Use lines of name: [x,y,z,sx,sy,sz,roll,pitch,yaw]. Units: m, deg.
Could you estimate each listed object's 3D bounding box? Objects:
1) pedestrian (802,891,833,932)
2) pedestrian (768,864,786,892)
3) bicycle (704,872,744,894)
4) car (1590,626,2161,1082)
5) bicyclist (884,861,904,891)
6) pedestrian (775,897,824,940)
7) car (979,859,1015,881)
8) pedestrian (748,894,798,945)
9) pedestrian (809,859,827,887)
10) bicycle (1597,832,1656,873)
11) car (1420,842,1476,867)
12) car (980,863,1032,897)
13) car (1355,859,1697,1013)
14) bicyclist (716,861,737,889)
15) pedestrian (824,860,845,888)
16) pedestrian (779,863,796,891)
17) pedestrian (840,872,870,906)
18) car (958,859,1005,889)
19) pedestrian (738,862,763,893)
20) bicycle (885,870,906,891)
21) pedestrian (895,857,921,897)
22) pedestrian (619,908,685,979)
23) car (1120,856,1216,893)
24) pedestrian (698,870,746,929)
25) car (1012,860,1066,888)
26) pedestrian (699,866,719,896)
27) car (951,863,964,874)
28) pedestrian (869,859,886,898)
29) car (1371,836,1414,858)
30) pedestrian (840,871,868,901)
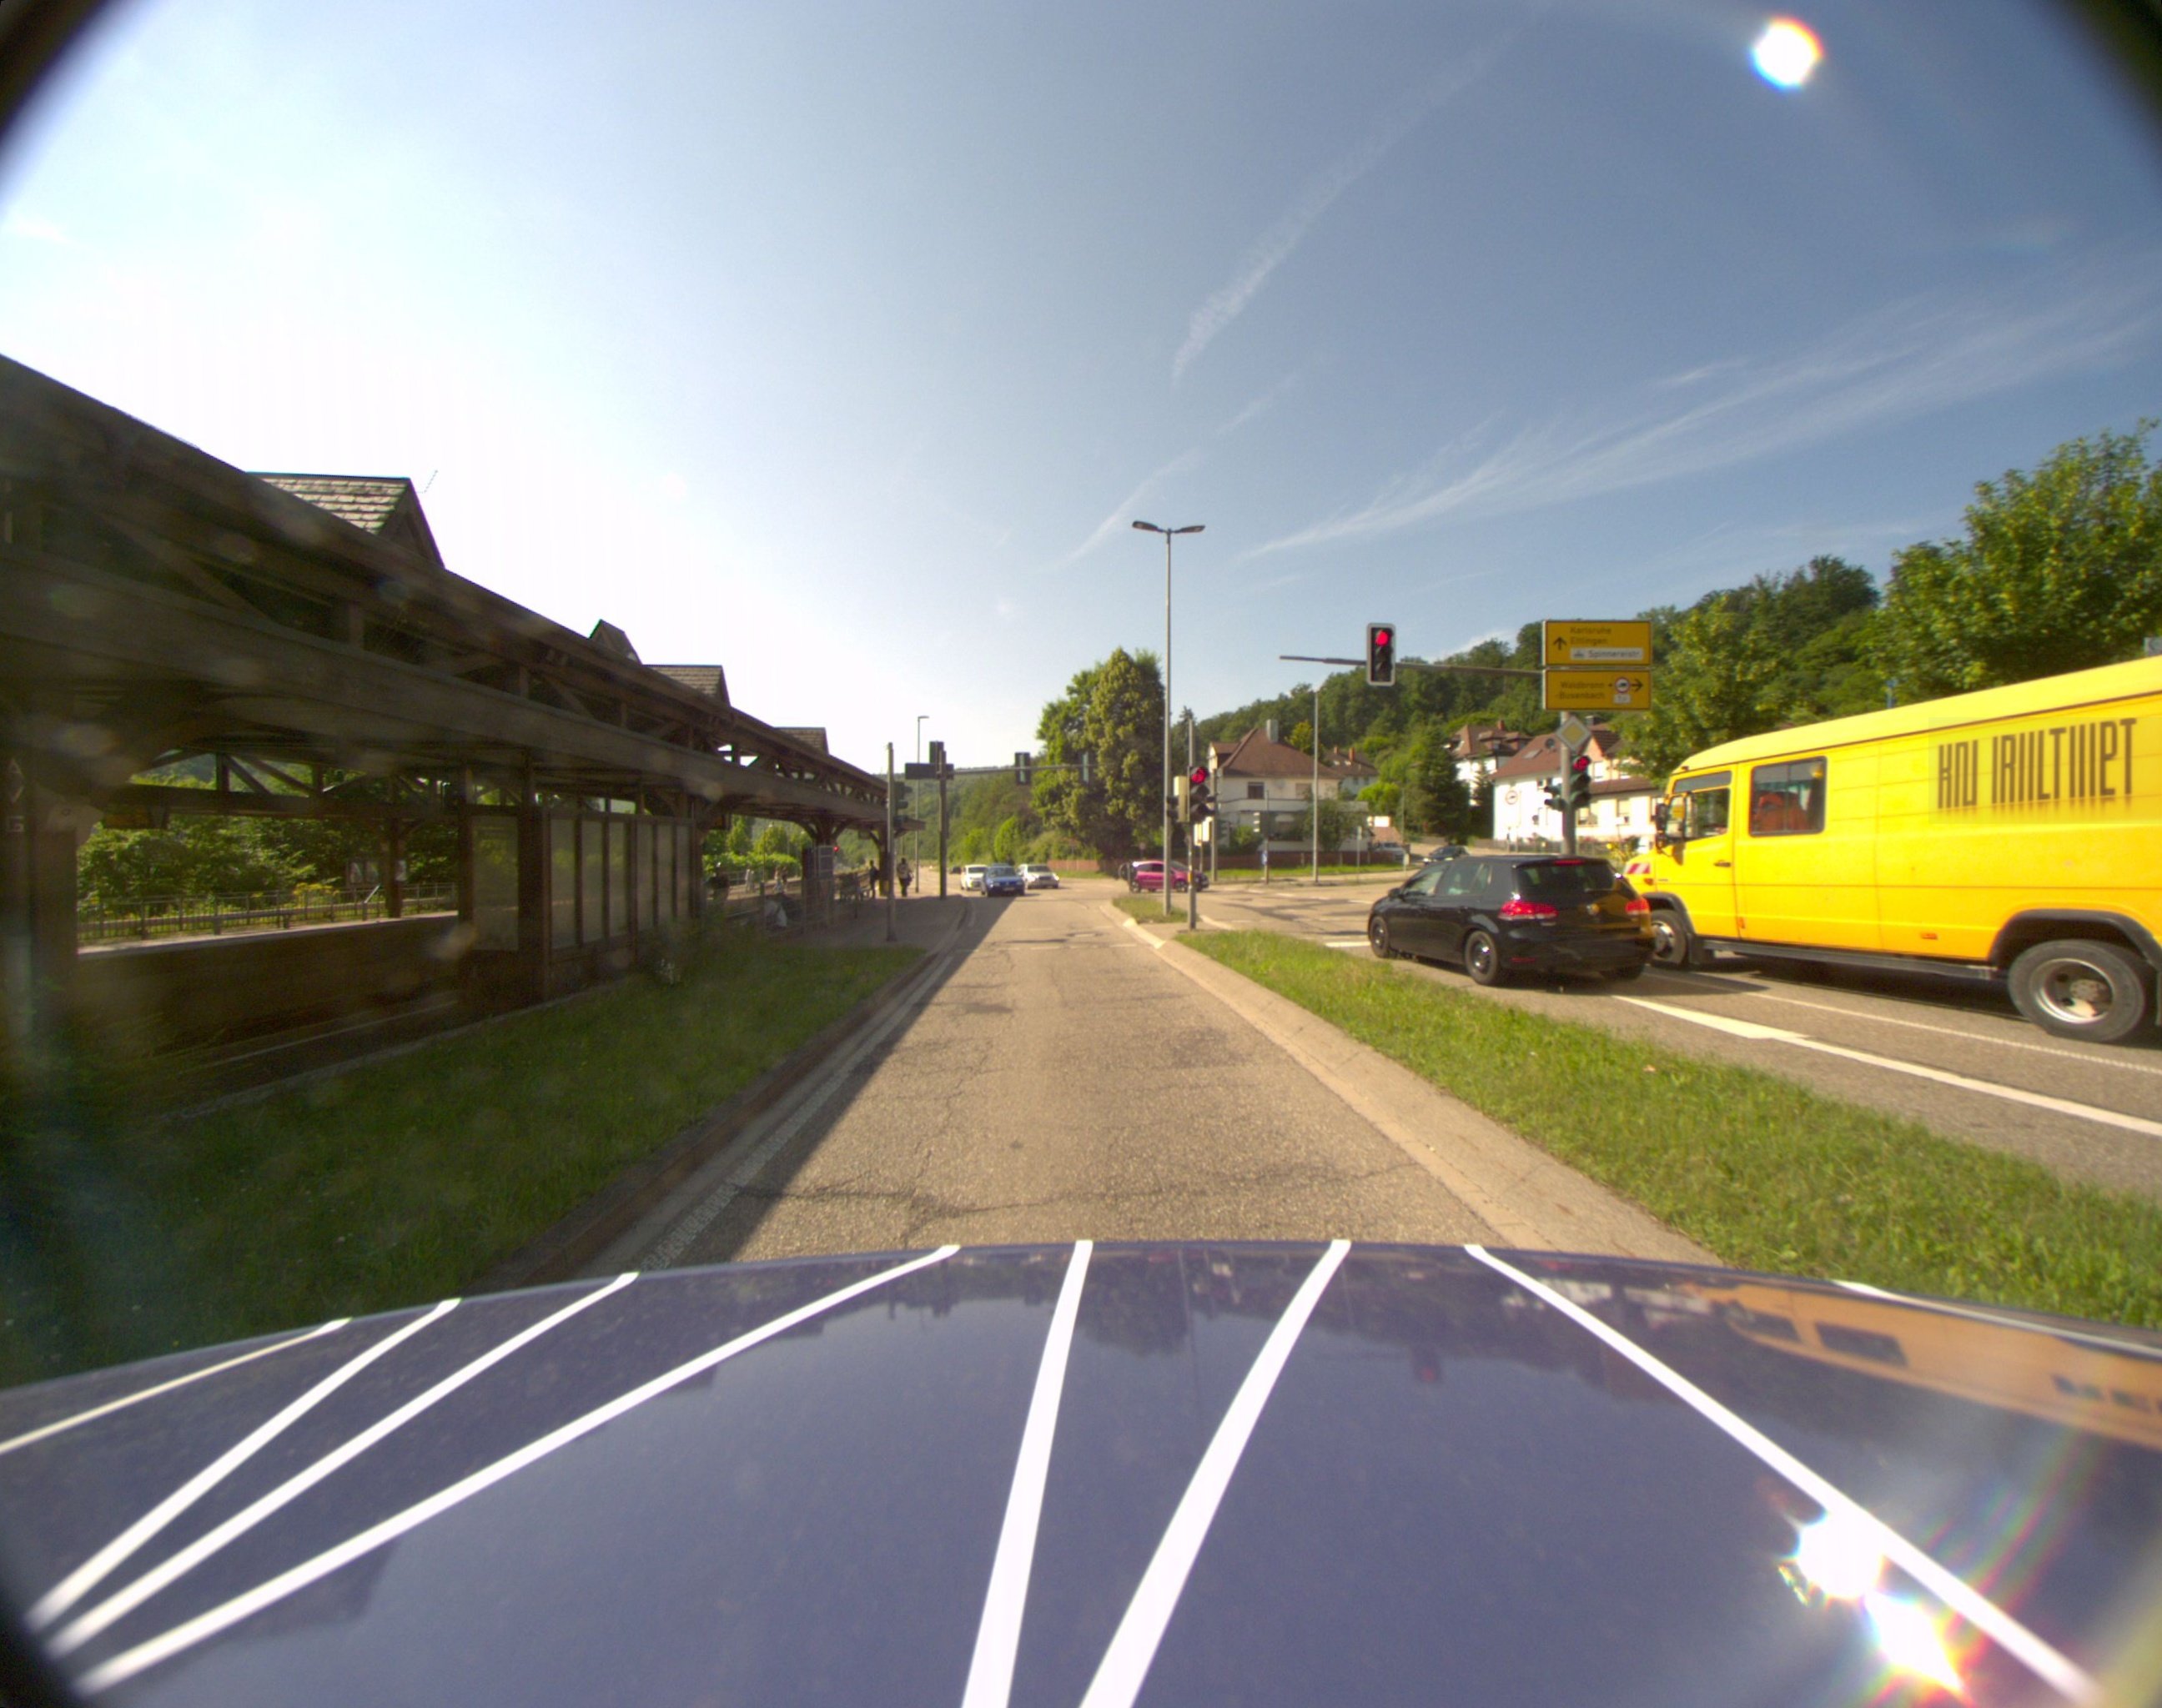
pedestrian: [-6.539,1.413,18.874,0.619,0.960,0.406,-3,-1,-7]
pedestrian: [-18.362,1.445,45.843,0.905,1.674,0.821,-3,-1,-23]
bicycle: [-22.008,1.769,46.862,2.020,1.201,0.709,-3,-1,-8]
car: [8.226,-0.047,6.961,2.474,2.993,6.464,-3,0,-3]
bicyclist: [-10.032,1.174,40.742,0.788,1.559,0.945,-3,1,-26]
pedestrian: [-6.395,1.461,17.299,0.847,0.869,0.807,-3,-1,-7]
car: [-6.415,1.221,57.832,1.982,1.495,3.982,-2,-1,-17]
pedestrian: [-6.425,1.362,15.895,0.744,0.976,0.769,-3,-1,-7]
pedestrian: [-16.253,1.202,46.973,0.868,1.674,0.822,-3,-1,-7]
bicycle: [18.295,-0.039,25.513,0.620,1.247,1.758,-6,-2,2]
car: [23.681,0.014,48.961,1.975,1.475,4.760,-3,-1,42]
car: [-3.643,1.176,36.212,1.867,1.474,4.297,-1,0,-13]
car: [5.103,0.816,9.470,1.750,1.454,4.042,-1,0,-3]
bicyclist: [-21.886,1.272,46.901,0.904,1.674,0.822,-3,-1,-8]
pedestrian: [-15.091,1.240,46.586,0.824,1.674,0.901,-3,-1,-44]
pedestrian: [-18.377,1.436,47.592,0.558,1.674,0.685,-3,-1,21]
pedestrian: [-8.702,1.350,29.264,0.994,1.228,0.596,-3,-1,-14]
car: [-5.931,1.166,44.958,2.001,1.575,3.994,-3,0,-17]
pedestrian: [-20.113,1.443,46.252,0.990,1.831,1.073,-2,-1,0]
bicycle: [-9.963,1.416,40.714,0.605,1.049,1.810,-3,0,-29]
pedestrian: [-7.928,1.047,34.879,0.916,1.726,1.251,-3,-1,-6]
pedestrian: [-7.336,1.521,13.019,0.744,1.110,0.667,-3,-1,-7]
car: [3.875,0.933,34.115,3.944,1.525,1.666,-2,-1,39]
pedestrian: [-9.561,1.197,20.264,0.863,1.538,0.922,-1,-1,-5]
car: [-2.528,1.175,44.335,1.982,1.495,4.745,-2,-1,-17]
pedestrian: [-21.821,1.592,44.583,0.905,1.674,1.123,-3,-1,-23]
car: [-20.279,2.439,125.319,2.000,1.739,3.998,-3,-1,-9]
pedestrian: [-8.888,1.070,33.136,0.659,1.682,0.738,-1,0,-13]
car: [25.821,-0.517,63.138,1.939,1.627,4.001,-3,-1,2]
pedestrian: [-9.083,1.267,30.444,1.010,1.153,0.947,-2,1,-13]
